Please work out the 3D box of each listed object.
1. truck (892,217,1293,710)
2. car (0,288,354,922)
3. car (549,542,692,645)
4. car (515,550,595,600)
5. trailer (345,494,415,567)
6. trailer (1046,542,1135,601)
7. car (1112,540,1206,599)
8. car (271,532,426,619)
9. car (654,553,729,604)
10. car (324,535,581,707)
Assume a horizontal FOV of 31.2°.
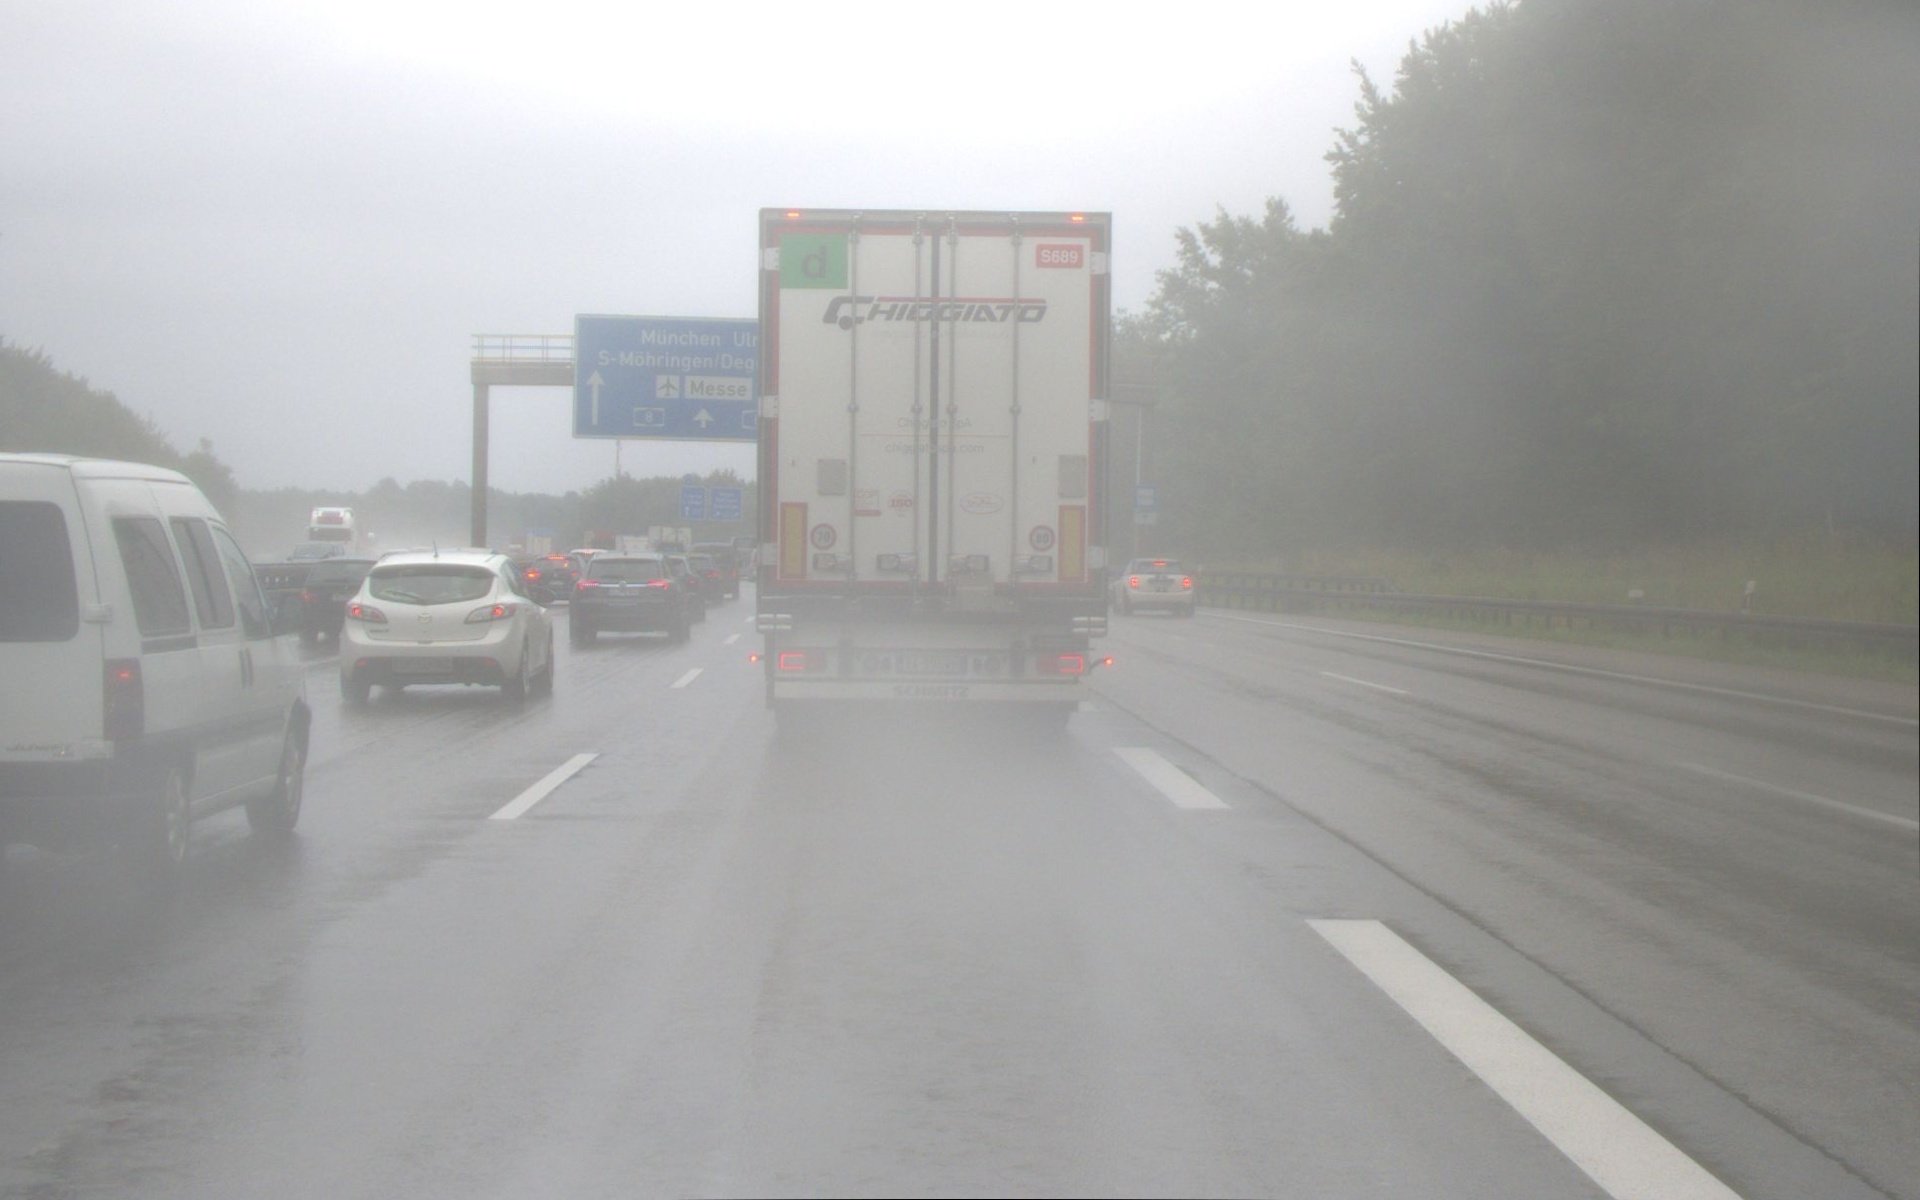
[{"bbox_3d":[1.039,-1.054,30.653,2.872,3.550,11.302,1,1,1],"label":"truck"},{"bbox_3d":[-4.426,-0.044,16.429,2.213,2.564,5.016,1,1,-1],"label":"car"},{"bbox_3d":[-5.535,-0.136,56.526,1.845,1.586,4.467,1,1,1],"label":"car"},{"bbox_3d":[-11.468,-0.731,97.603,1.845,1.326,4.467,1,1,-2],"label":"car"},{"bbox_3d":[-33.513,-3.999,199.027,2.540,4.011,13.853,1,1,-3],"label":"trailer"},{"bbox_3d":[3.944,-0.892,104.959,2.243,1.709,5.083,1,1,-3],"label":"trailer"},{"bbox_3d":[4.873,-0.770,84.590,1.790,1.402,4.229,1,1,-3],"label":"car"},{"bbox_3d":[-9.911,-0.426,56.008,1.845,1.326,4.467,1,1,-2],"label":"car"},{"bbox_3d":[-7.419,-0.616,95.217,1.845,1.326,4.467,1,1,-2],"label":"car"},{"bbox_3d":[-4.994,0.159,34.337,1.845,1.586,4.072,1,1,2],"label":"car"}]
